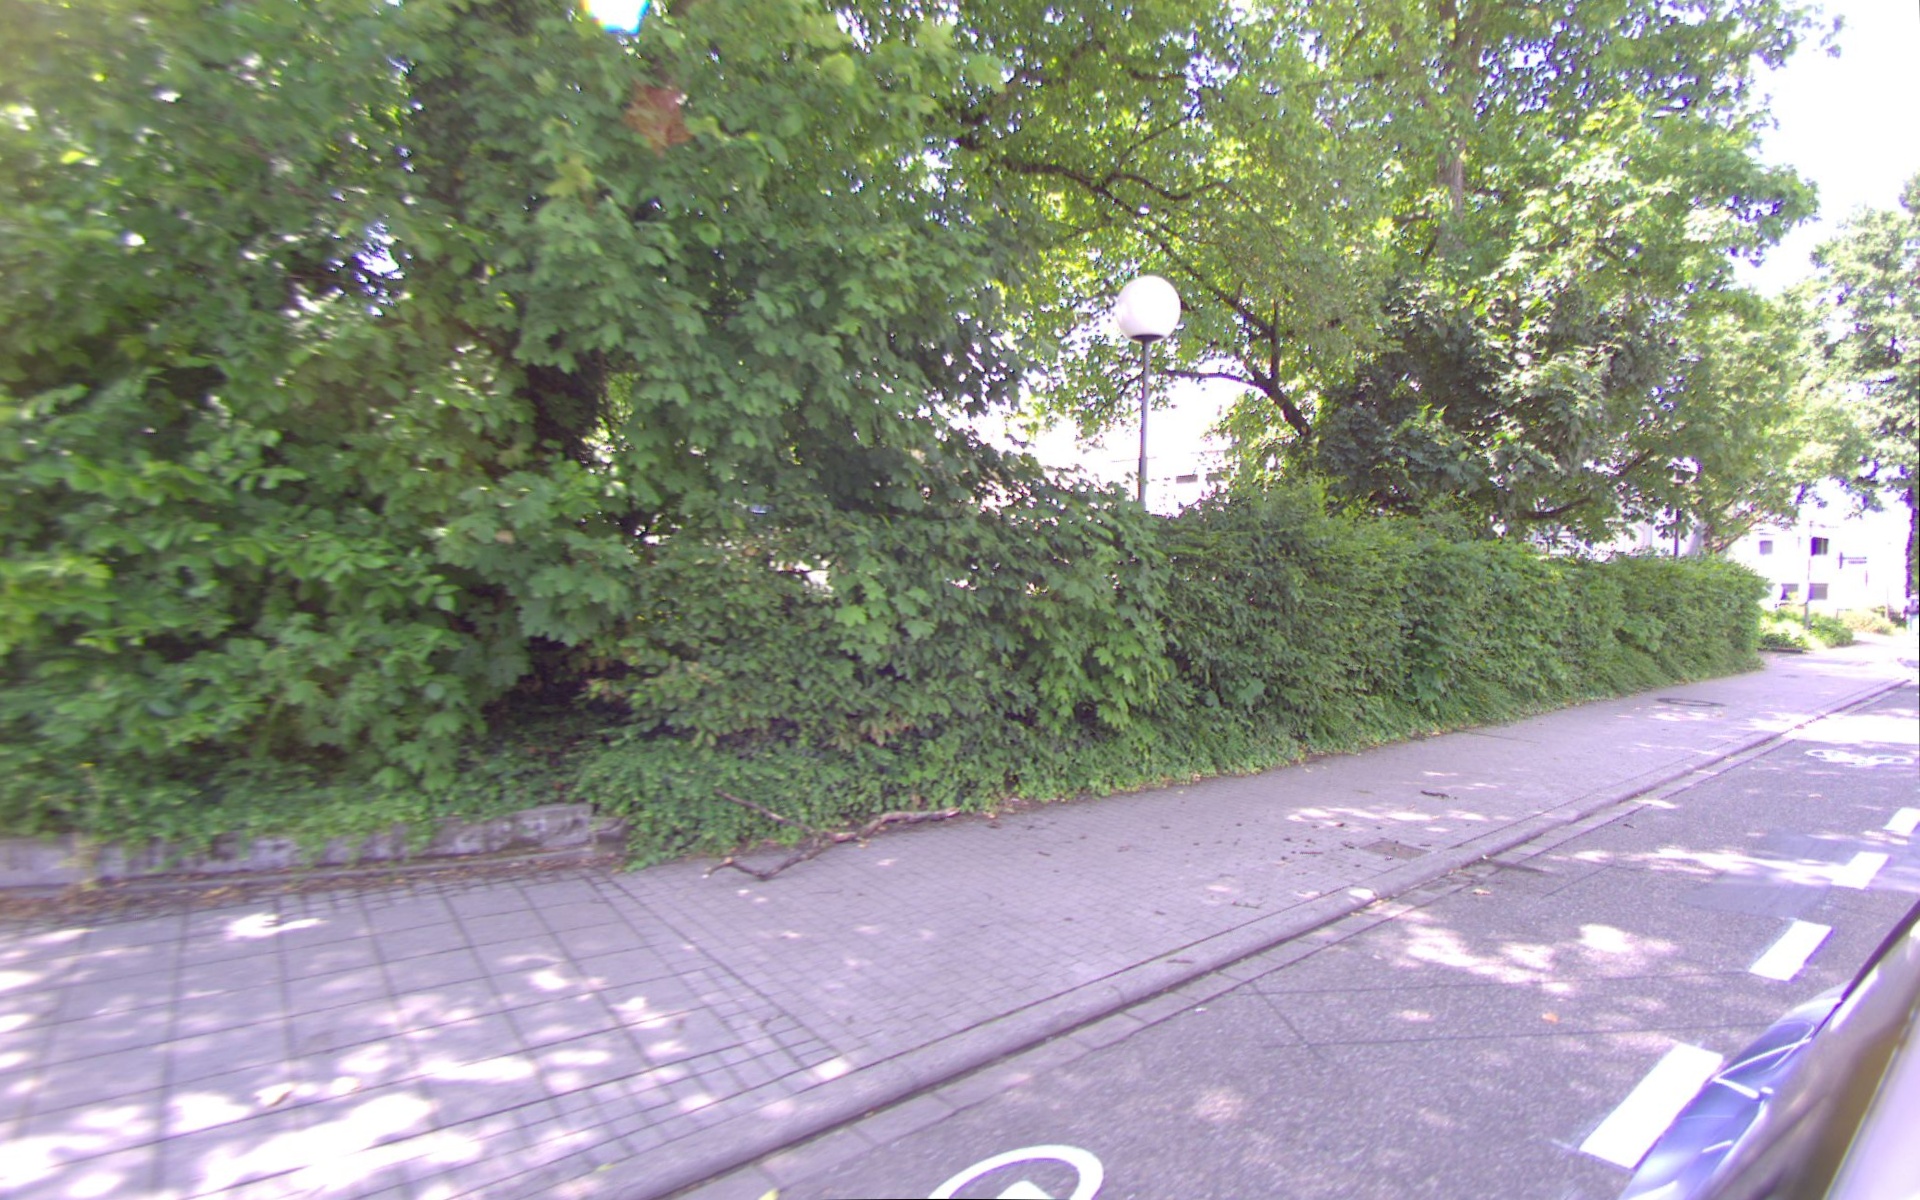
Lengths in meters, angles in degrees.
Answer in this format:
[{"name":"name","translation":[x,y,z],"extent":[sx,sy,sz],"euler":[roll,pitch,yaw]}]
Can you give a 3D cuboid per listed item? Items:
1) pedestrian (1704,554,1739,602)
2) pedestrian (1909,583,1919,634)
[{"name":"pedestrian","translation":[32.749,-0.955,43.511],"extent":[0.932,2.039,0.930],"euler":[1,1,-37]},{"name":"pedestrian","translation":[32.145,0.282,33.672],"extent":[1.235,1.695,0.740],"euler":[0,1,-44]}]
